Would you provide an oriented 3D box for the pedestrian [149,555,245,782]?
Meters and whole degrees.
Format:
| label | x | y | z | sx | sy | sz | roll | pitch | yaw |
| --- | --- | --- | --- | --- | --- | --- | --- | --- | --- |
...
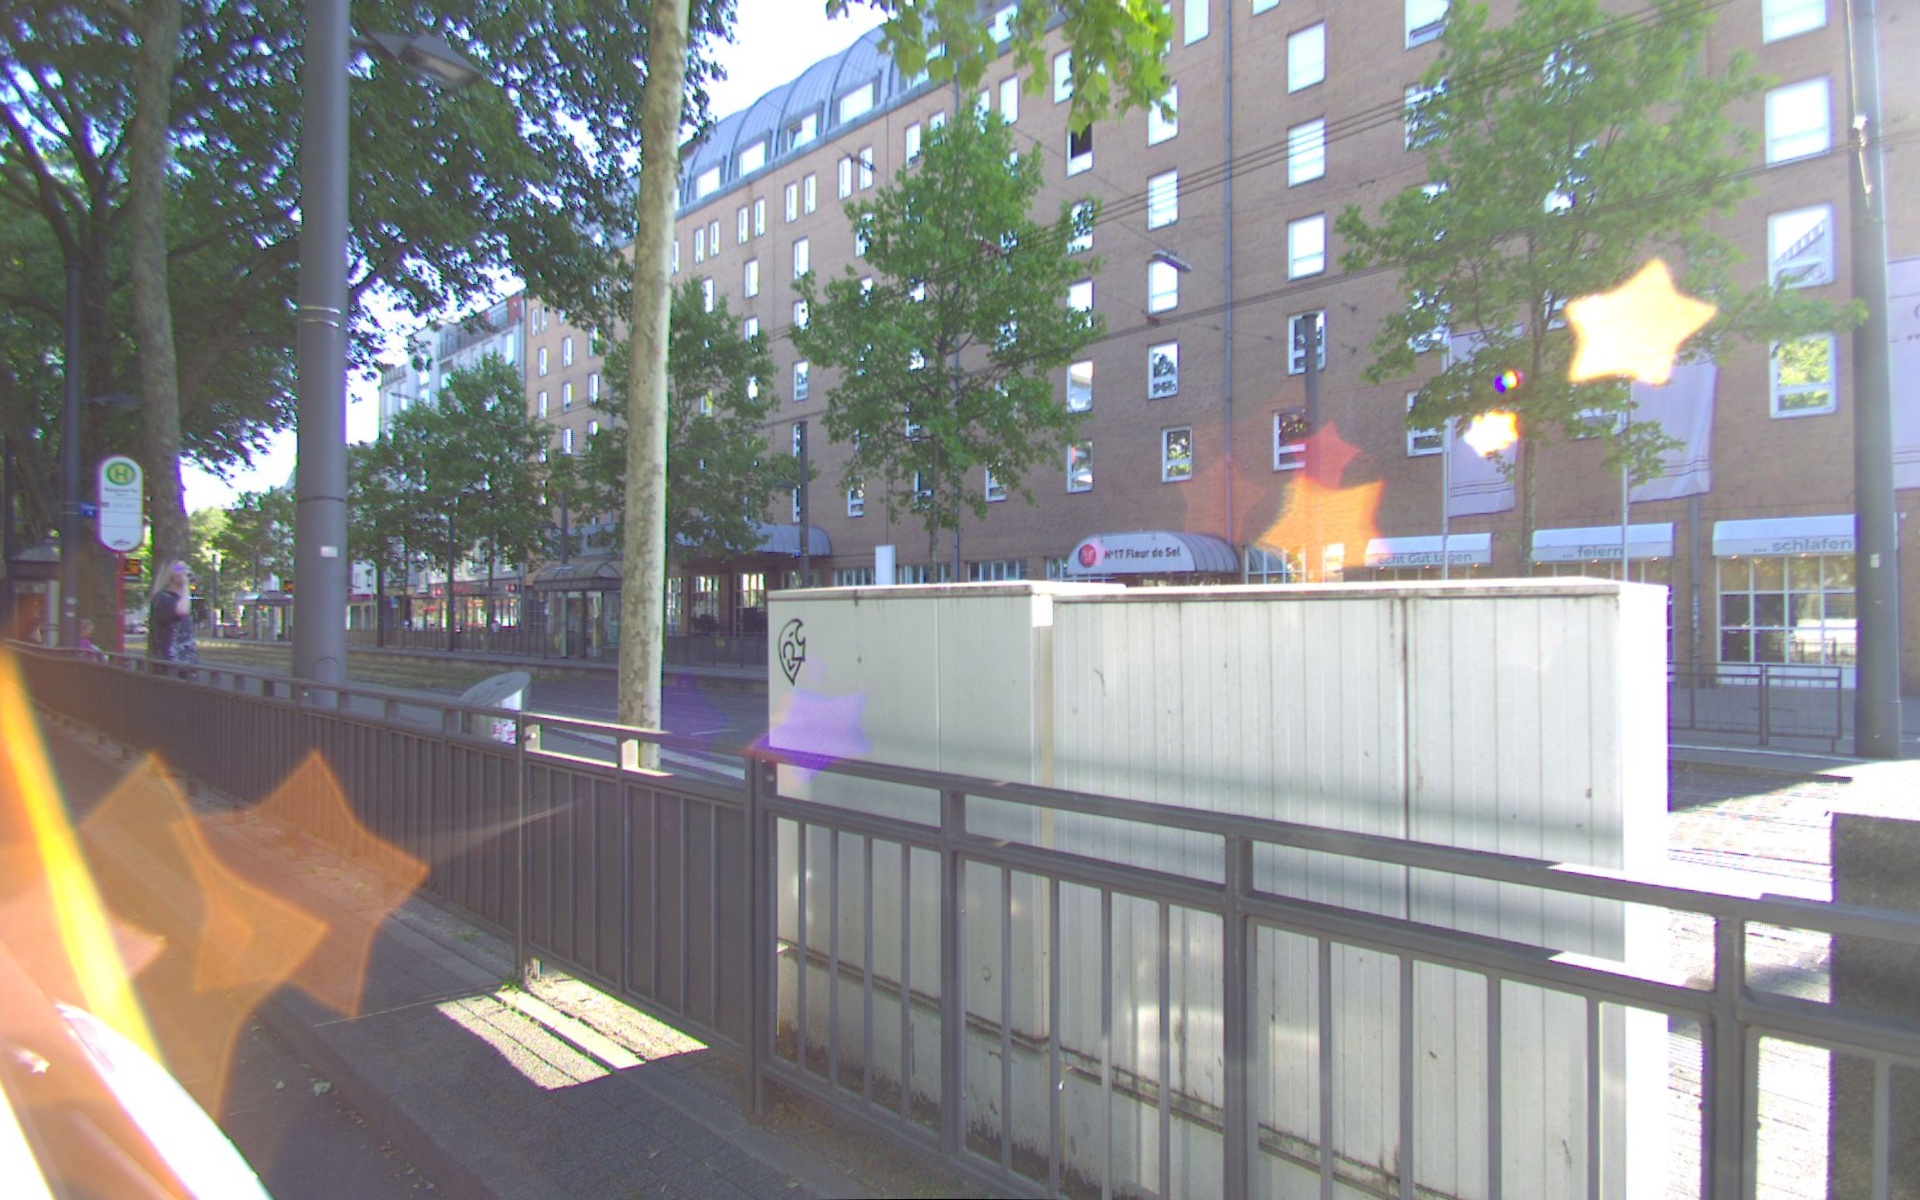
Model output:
| label | x | y | z | sx | sy | sz | roll | pitch | yaw |
| --- | --- | --- | --- | --- | --- | --- | --- | --- | --- |
| pedestrian | -6.480 | 0.558 | 8.601 | 0.524 | 1.848 | 0.536 | -1 | 0 | 41 |

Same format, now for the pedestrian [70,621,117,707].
| label | x | y | z | sx | sy | sz | roll | pitch | yaw |
| --- | --- | --- | --- | --- | --- | --- | --- | --- | --- |
| pedestrian | -13.965 | 1.014 | 16.315 | 0.534 | 1.327 | 0.525 | -1 | 0 | -37 |

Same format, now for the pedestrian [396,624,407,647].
| label | x | y | z | sx | sy | sz | roll | pitch | yaw |
| --- | --- | --- | --- | --- | --- | --- | --- | --- | --- |
| pedestrian | -41.397 | 2.636 | 74.989 | 0.574 | 1.748 | 0.497 | -2 | -2 | 43 |
